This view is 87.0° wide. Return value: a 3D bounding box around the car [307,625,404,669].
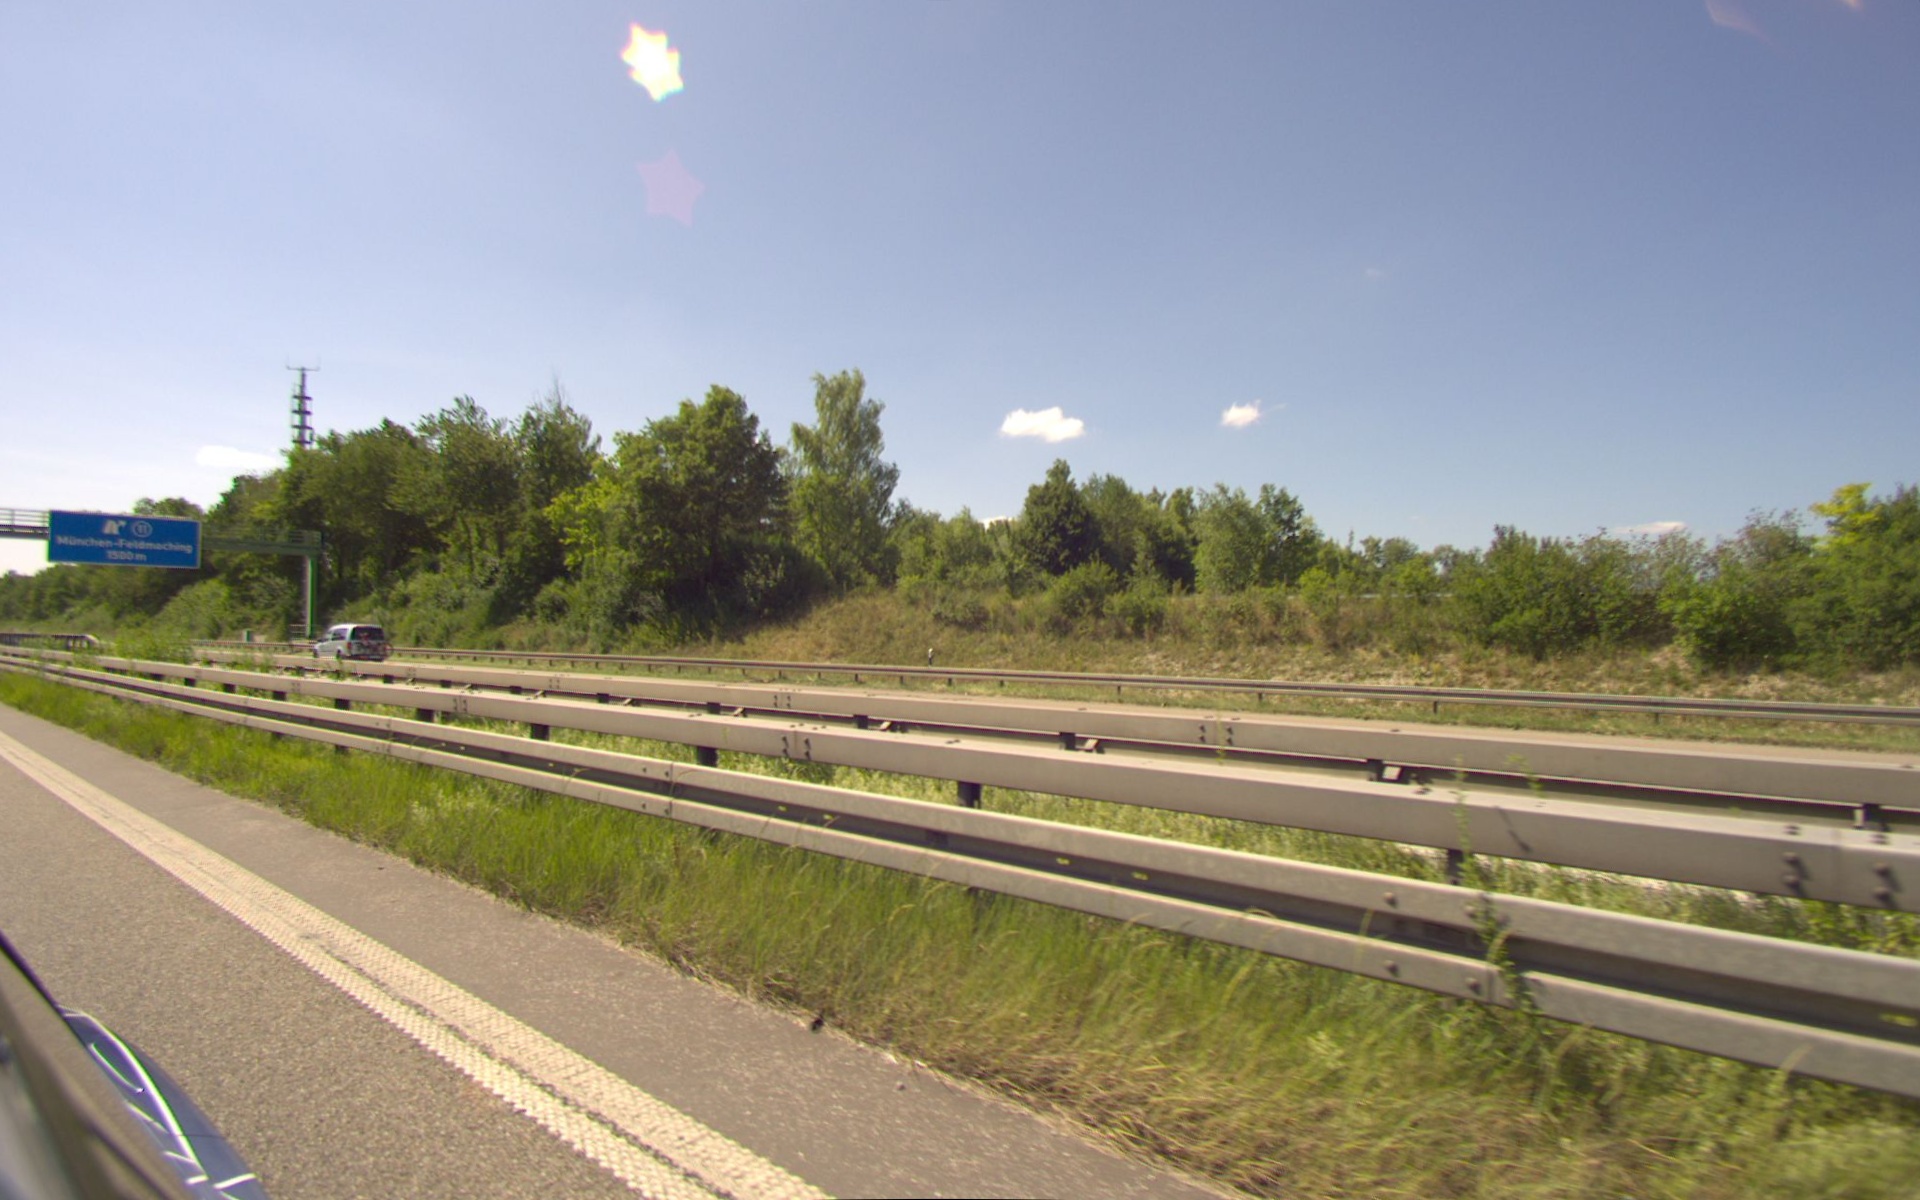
[{"bbox_3d":[-26.949,2.075,45.050,5.328,1.849,1.973,-1,-4,40],"label":"car"}]
